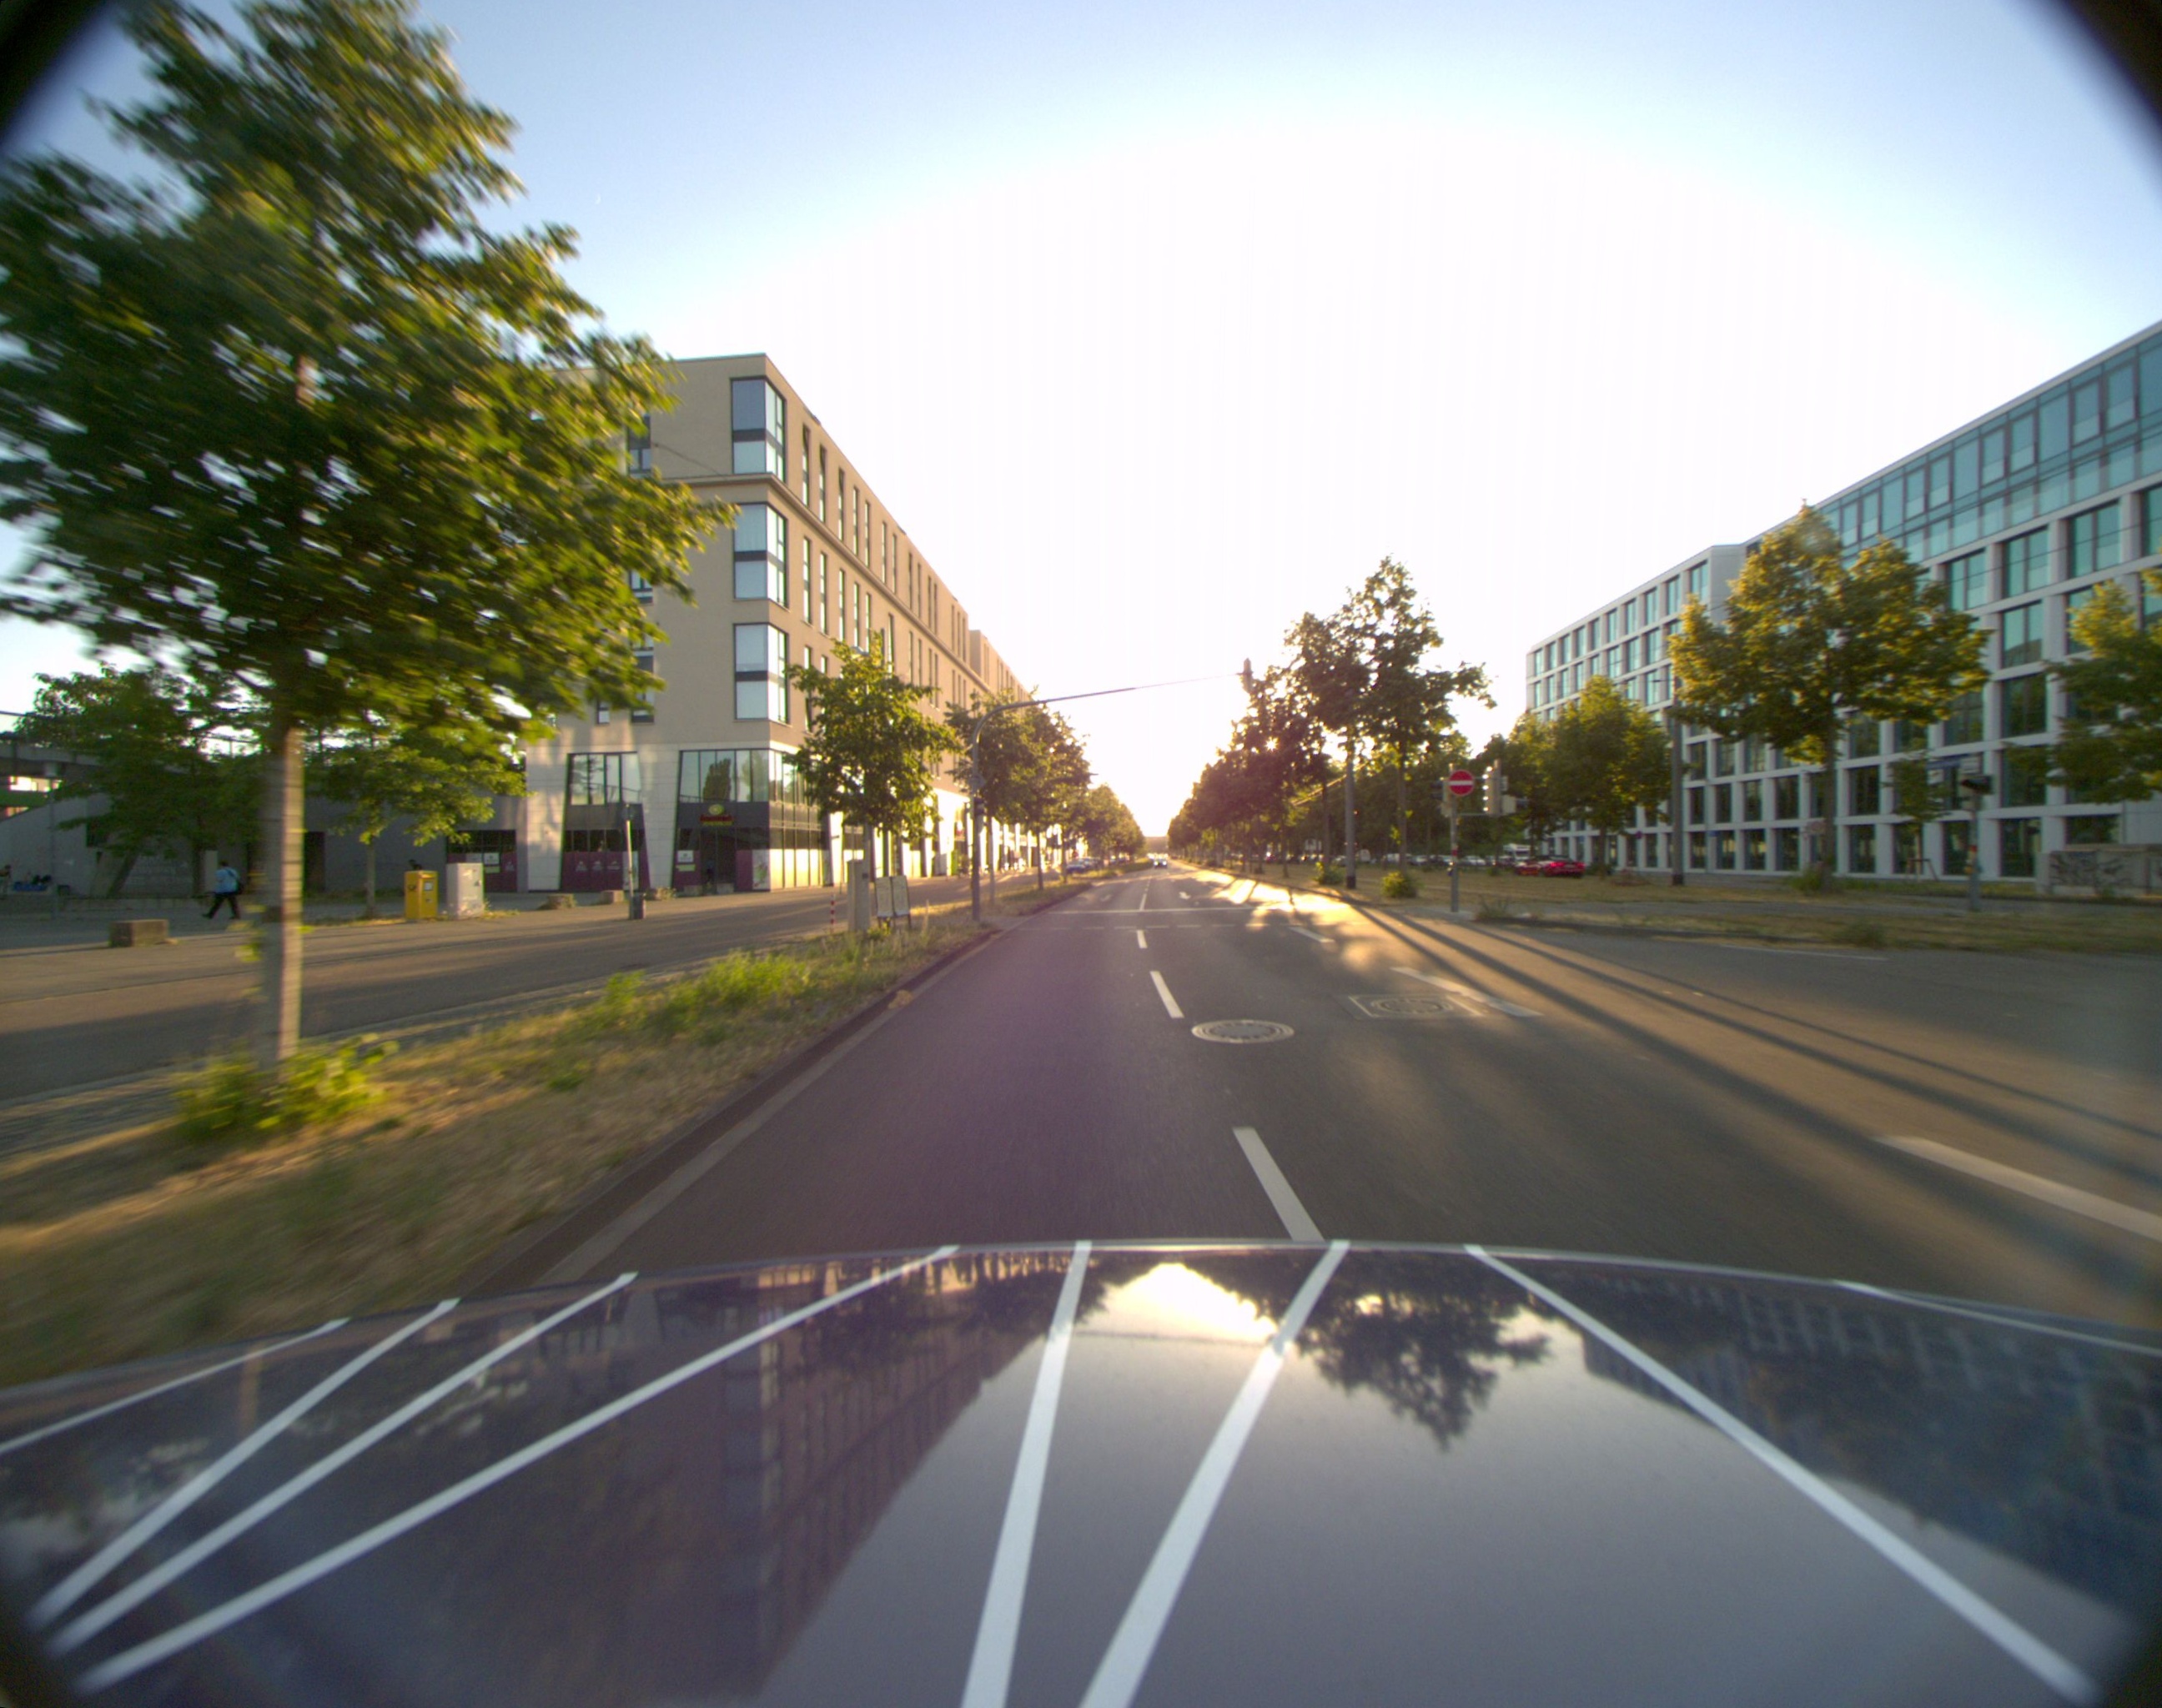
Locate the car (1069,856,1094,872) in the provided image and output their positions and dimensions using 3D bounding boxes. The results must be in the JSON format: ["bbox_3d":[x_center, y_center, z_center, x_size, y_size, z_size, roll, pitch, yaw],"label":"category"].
[{"bbox_3d":[0.035,0.958,72.056,1.998,1.455,4.001,-1,0,5],"label":"car"}]

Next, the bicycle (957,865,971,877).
[{"bbox_3d":[-8.871,1.293,57.585,0.547,0.856,1.573,-1,0,-27],"label":"bicycle"}]

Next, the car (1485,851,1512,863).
[{"bbox_3d":[55.166,0.368,100.436,1.997,1.583,4.004,-1,0,12],"label":"car"}]

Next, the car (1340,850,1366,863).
[{"bbox_3d":[29.505,0.276,82.609,1.649,1.395,4.001,-1,0,4],"label":"car"}]

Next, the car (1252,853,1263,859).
[{"bbox_3d":[37.365,0.400,160.910,1.649,1.395,4.001,-1,0,4],"label":"car"}]

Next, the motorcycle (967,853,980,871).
[{"bbox_3d":[-10.199,0.768,71.950,0.690,1.689,2.124,-1,0,5],"label":"motorcycle"}]

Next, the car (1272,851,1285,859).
[{"bbox_3d":[35.983,0.233,138.398,1.649,1.395,4.001,-1,0,4],"label":"car"}]

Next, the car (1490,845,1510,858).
[{"bbox_3d":[60.898,-0.318,110.426,1.849,1.801,4.005,-1,0,18],"label":"car"}]

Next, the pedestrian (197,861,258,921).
[{"bbox_3d":[-26.798,1.158,23.868,0.898,1.833,0.838,-1,1,-1],"label":"pedestrian"}]

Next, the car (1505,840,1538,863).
[{"bbox_3d":[57.715,-0.327,99.617,2.162,2.973,5.727,-1,0,13],"label":"car"}]

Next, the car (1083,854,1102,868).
[{"bbox_3d":[1.393,0.794,90.311,1.998,1.594,4.001,-1,0,5],"label":"car"}]

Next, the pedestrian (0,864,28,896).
[{"bbox_3d":[-54.713,1.314,38.833,0.718,1.585,0.796,-1,1,-19],"label":"pedestrian"}]

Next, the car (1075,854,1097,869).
[{"bbox_3d":[0.570,0.843,83.418,1.998,1.594,4.001,-1,0,5],"label":"car"}]

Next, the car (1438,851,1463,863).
[{"bbox_3d":[50.301,0.330,103.469,1.997,1.583,4.339,-1,0,12],"label":"car"}]

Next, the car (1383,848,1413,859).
[{"bbox_3d":[51.510,-0.011,123.684,4.081,1.731,2.000,-1,0,3],"label":"car"}]

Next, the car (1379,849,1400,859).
[{"bbox_3d":[51.698,0.002,127.568,1.998,1.731,4.612,-1,0,5],"label":"car"}]

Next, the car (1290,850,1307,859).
[{"bbox_3d":[32.969,0.066,115.089,1.649,1.395,4.001,-1,0,4],"label":"car"}]

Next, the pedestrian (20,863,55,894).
[{"bbox_3d":[-53.424,1.259,38.909,0.716,1.585,0.798,-1,1,11],"label":"pedestrian"}]

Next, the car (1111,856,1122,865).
[{"bbox_3d":[6.599,1.125,140.982,1.998,1.594,4.001,-1,0,5],"label":"car"}]

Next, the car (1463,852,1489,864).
[{"bbox_3d":[51.682,0.482,99.436,1.997,1.583,4.004,-1,0,12],"label":"car"}]

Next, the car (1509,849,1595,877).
[{"bbox_3d":[25.621,0.468,41.579,1.998,1.426,4.900,-1,0,5],"label":"car"}]

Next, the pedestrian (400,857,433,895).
[{"bbox_3d":[-29.996,0.971,34.315,0.766,1.673,0.765,-1,1,7],"label":"pedestrian"}]

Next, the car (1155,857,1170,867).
[{"bbox_3d":[11.775,1.157,109.643,1.998,1.474,4.337,-1,0,5],"label":"car"}]

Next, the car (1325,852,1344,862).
[{"bbox_3d":[35.345,0.406,106.032,1.649,1.395,4.001,-1,0,4],"label":"car"}]

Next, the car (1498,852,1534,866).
[{"bbox_3d":[45.706,0.479,79.970,1.763,1.395,4.001,-1,0,4],"label":"car"}]
